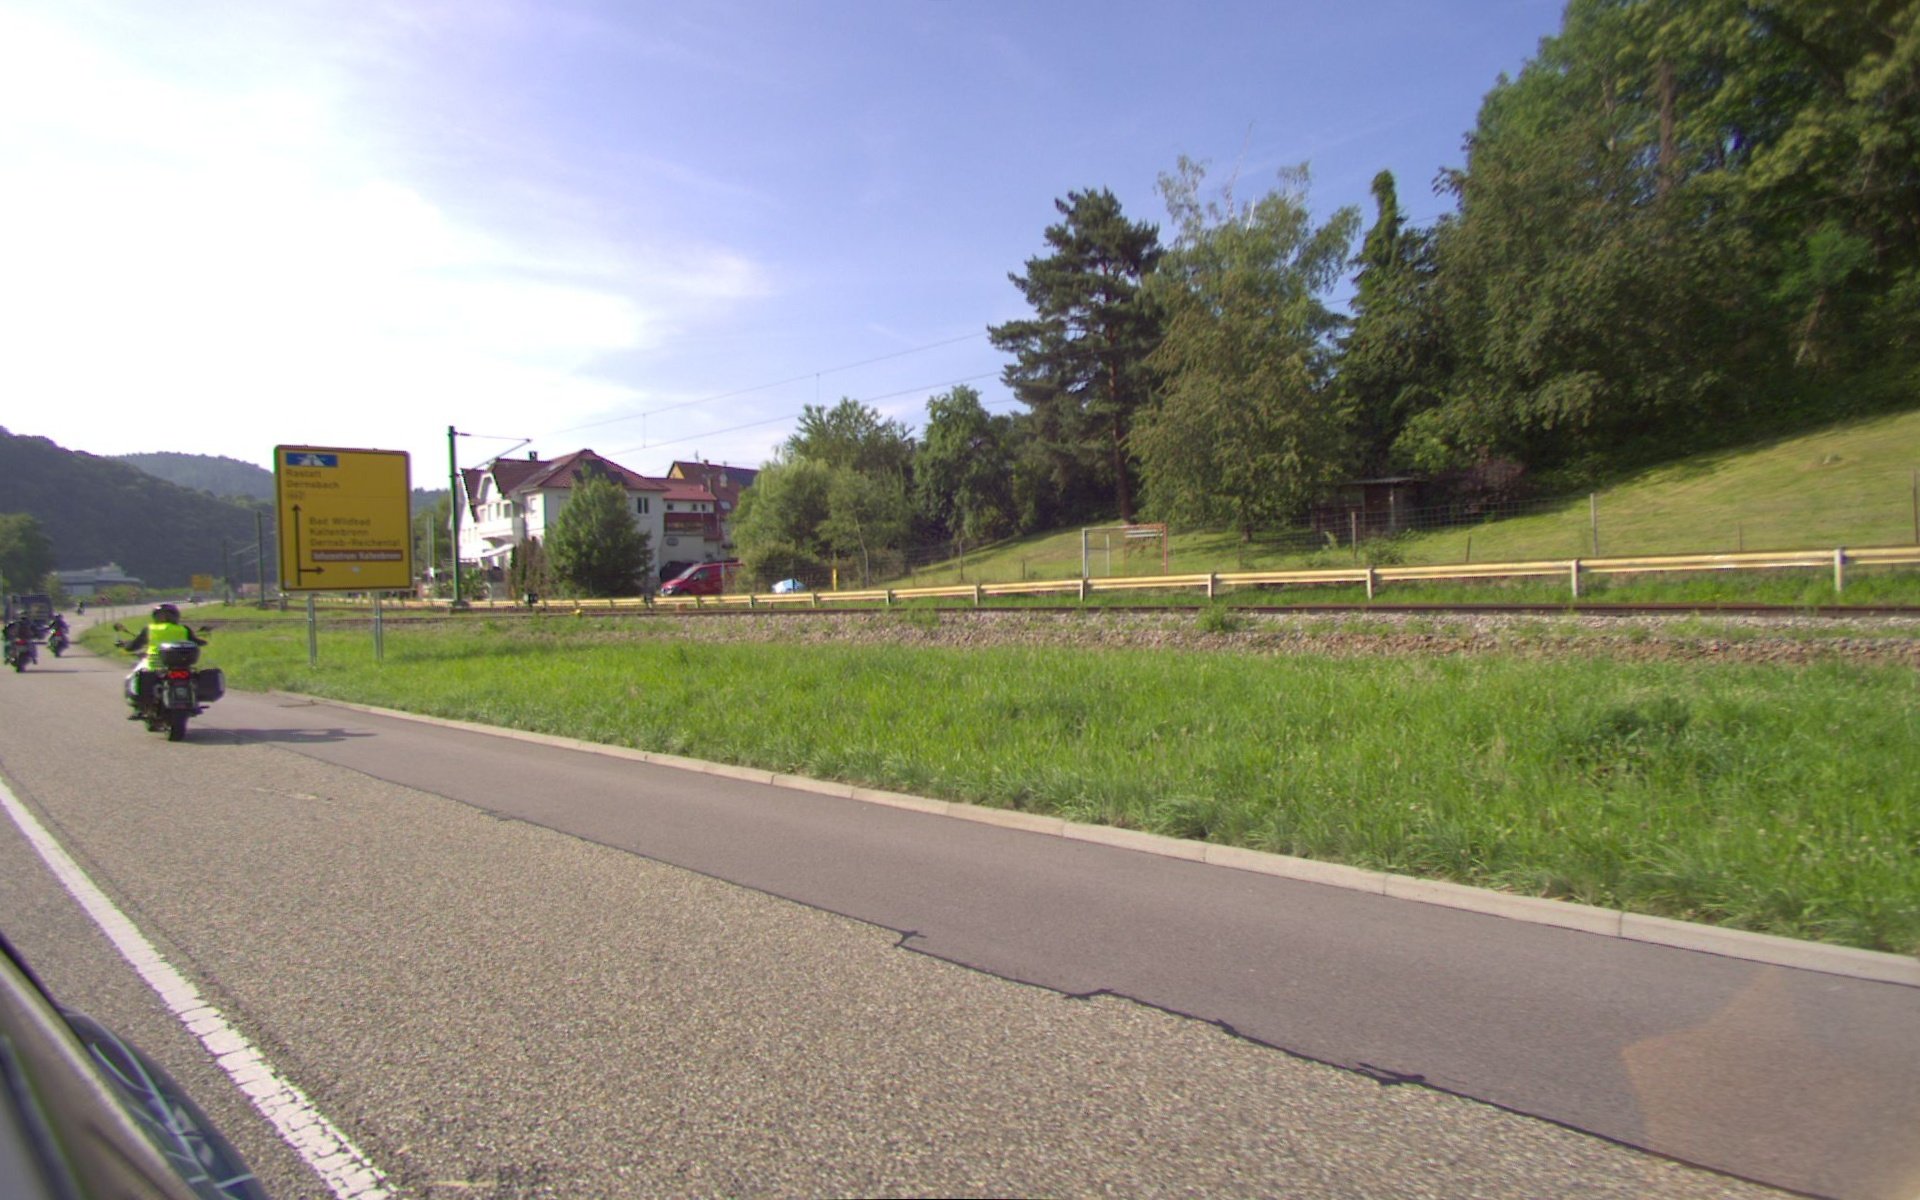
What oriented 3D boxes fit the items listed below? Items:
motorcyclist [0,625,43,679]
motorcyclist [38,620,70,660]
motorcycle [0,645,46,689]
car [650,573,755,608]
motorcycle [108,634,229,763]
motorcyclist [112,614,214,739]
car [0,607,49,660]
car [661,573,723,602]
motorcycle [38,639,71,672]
[{"bbox_3d":[-25.909,1.418,27.896,0.964,1.434,0.834,-3,-2,43],"label":"motorcyclist"},{"bbox_3d":[-33.240,1.468,37.128,0.833,1.434,0.964,-1,-2,-44],"label":"motorcyclist"},{"bbox_3d":[-25.814,1.828,27.808,2.125,1.139,0.852,-3,-2,43],"label":"motorcycle"},{"bbox_3d":[-13.825,-0.528,54.411,4.900,1.704,2.461,-3,1,-37],"label":"car"},{"bbox_3d":[-9.668,1.135,12.315,2.404,1.393,0.852,-3,-2,44],"label":"motorcycle"},{"bbox_3d":[-9.760,0.907,12.387,0.964,1.434,0.849,-3,-2,44],"label":"motorcyclist"},{"bbox_3d":[-48.872,1.708,52.426,5.480,2.635,2.103,-2,-2,44],"label":"car"},{"bbox_3d":[-19.912,-0.906,75.153,3.936,1.803,1.824,-6,3,-36],"label":"car"},{"bbox_3d":[-33.195,2.020,37.099,0.852,1.139,1.970,0,-2,-44],"label":"motorcycle"}]
